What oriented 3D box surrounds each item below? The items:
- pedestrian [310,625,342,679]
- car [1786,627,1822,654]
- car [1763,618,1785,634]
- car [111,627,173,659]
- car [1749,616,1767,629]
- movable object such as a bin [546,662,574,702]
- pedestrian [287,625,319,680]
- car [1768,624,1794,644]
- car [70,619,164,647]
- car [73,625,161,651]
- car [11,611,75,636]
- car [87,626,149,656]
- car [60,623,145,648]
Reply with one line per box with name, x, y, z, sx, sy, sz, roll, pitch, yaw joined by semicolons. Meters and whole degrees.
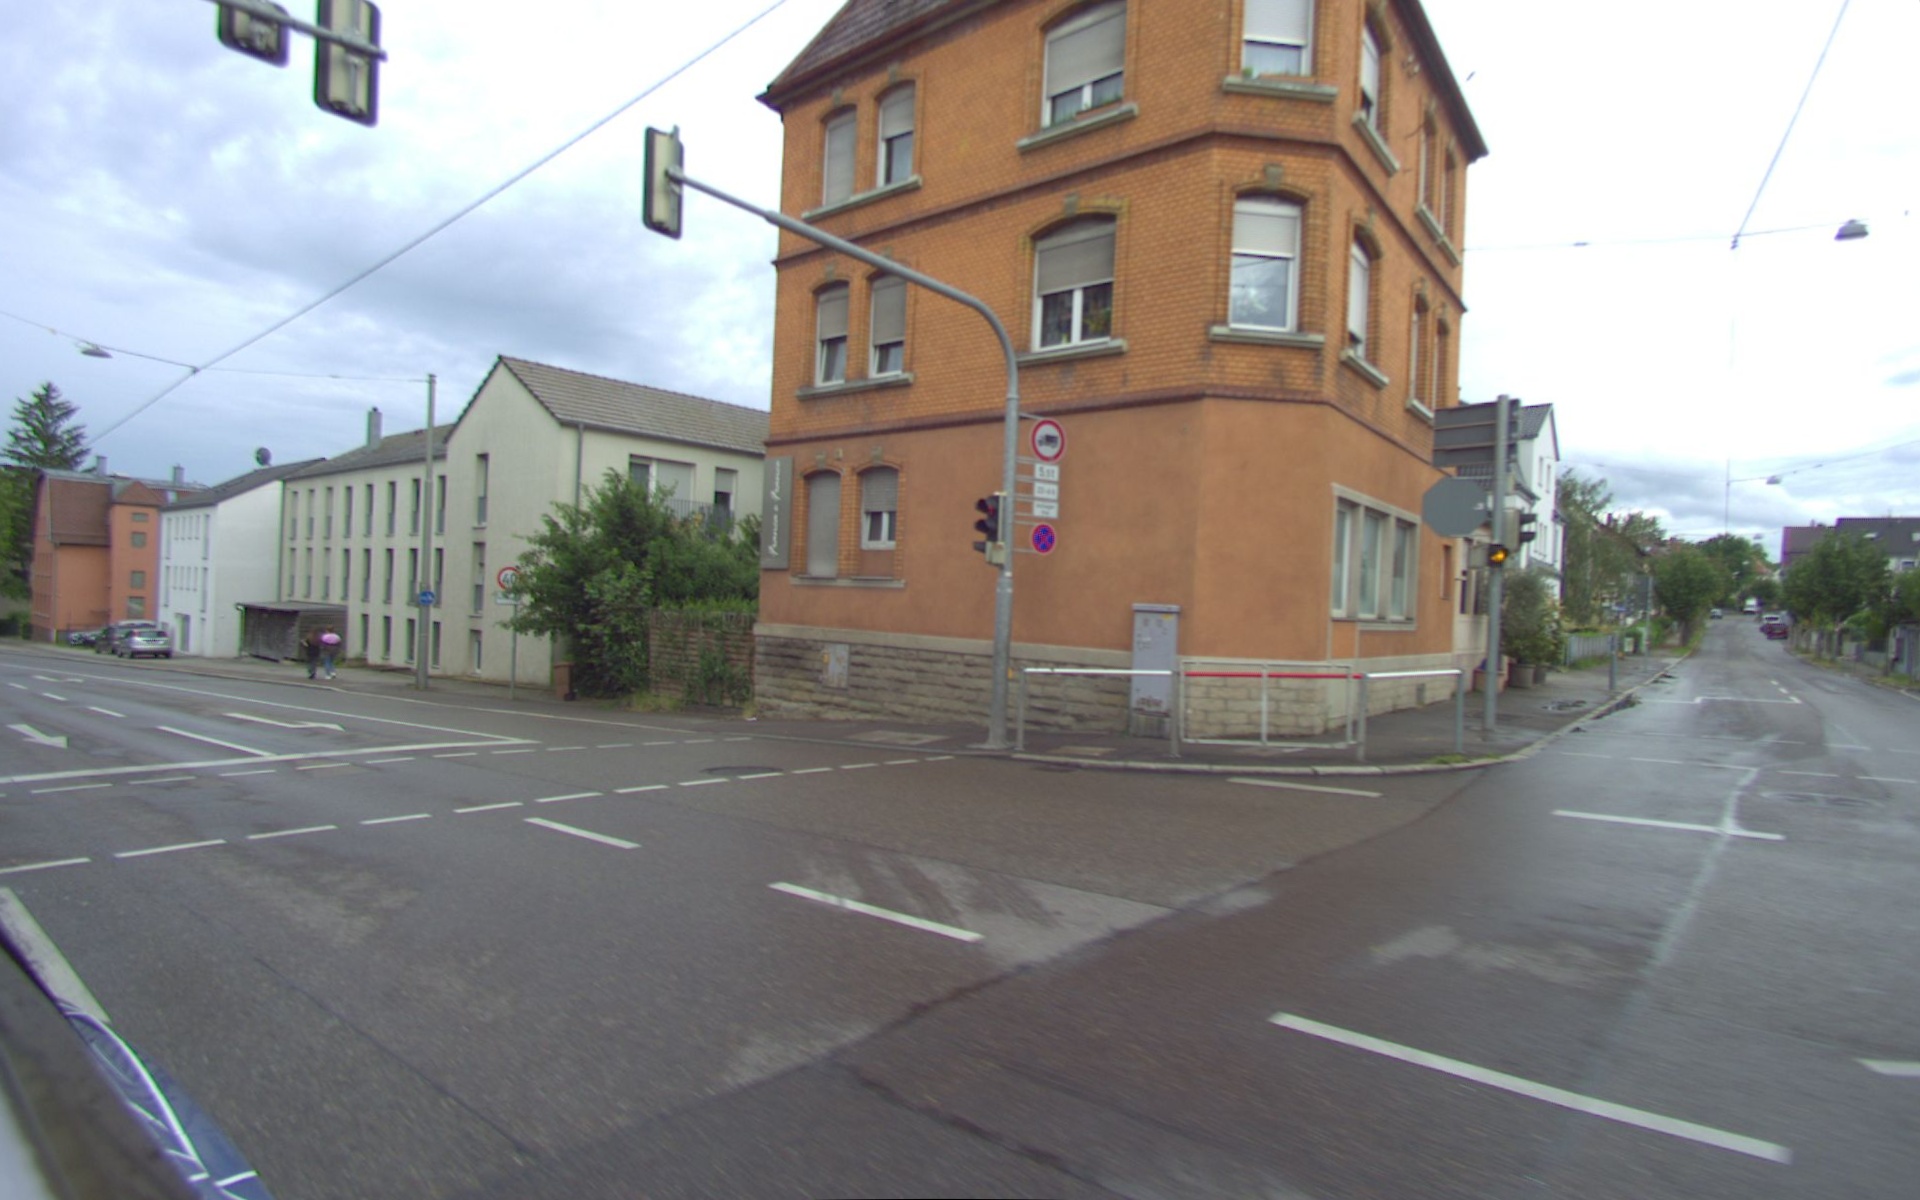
pedestrian;-20.466;1.671;32.669;0.911;1.719;0.633;-1;-2;42
car;66.668;3.155;79.984;1.997;2.029;3.949;-1;-1;38
car;102.571;3.259;127.579;1.997;2.029;3.950;-1;-1;37
car;-41.304;2.145;51.081;4.175;1.519;1.727;-1;-2;41
car;124.797;3.479;158.311;1.997;2.029;3.950;-1;-1;37
movable object such as a bin;-9.579;1.956;24.211;0.525;0.932;0.405;-1;-1;34
pedestrian;-20.895;1.645;32.173;0.911;1.719;0.633;-1;-2;42
car;89.633;3.692;110.498;1.997;2.029;3.950;-1;-1;37
car;-54.835;2.123;65.900;2.153;1.620;4.482;-1;0;43
car;-53.169;2.377;63.892;1.895;1.475;4.082;-1;0;42
car;-77.089;1.938;85.100;3.938;2.029;2.003;0;-1;-42
car;-46.531;2.220;55.885;4.076;1.564;1.729;-1;0;37
car;-56.957;2.334;67.261;2.000;1.444;4.117;-1;0;43
